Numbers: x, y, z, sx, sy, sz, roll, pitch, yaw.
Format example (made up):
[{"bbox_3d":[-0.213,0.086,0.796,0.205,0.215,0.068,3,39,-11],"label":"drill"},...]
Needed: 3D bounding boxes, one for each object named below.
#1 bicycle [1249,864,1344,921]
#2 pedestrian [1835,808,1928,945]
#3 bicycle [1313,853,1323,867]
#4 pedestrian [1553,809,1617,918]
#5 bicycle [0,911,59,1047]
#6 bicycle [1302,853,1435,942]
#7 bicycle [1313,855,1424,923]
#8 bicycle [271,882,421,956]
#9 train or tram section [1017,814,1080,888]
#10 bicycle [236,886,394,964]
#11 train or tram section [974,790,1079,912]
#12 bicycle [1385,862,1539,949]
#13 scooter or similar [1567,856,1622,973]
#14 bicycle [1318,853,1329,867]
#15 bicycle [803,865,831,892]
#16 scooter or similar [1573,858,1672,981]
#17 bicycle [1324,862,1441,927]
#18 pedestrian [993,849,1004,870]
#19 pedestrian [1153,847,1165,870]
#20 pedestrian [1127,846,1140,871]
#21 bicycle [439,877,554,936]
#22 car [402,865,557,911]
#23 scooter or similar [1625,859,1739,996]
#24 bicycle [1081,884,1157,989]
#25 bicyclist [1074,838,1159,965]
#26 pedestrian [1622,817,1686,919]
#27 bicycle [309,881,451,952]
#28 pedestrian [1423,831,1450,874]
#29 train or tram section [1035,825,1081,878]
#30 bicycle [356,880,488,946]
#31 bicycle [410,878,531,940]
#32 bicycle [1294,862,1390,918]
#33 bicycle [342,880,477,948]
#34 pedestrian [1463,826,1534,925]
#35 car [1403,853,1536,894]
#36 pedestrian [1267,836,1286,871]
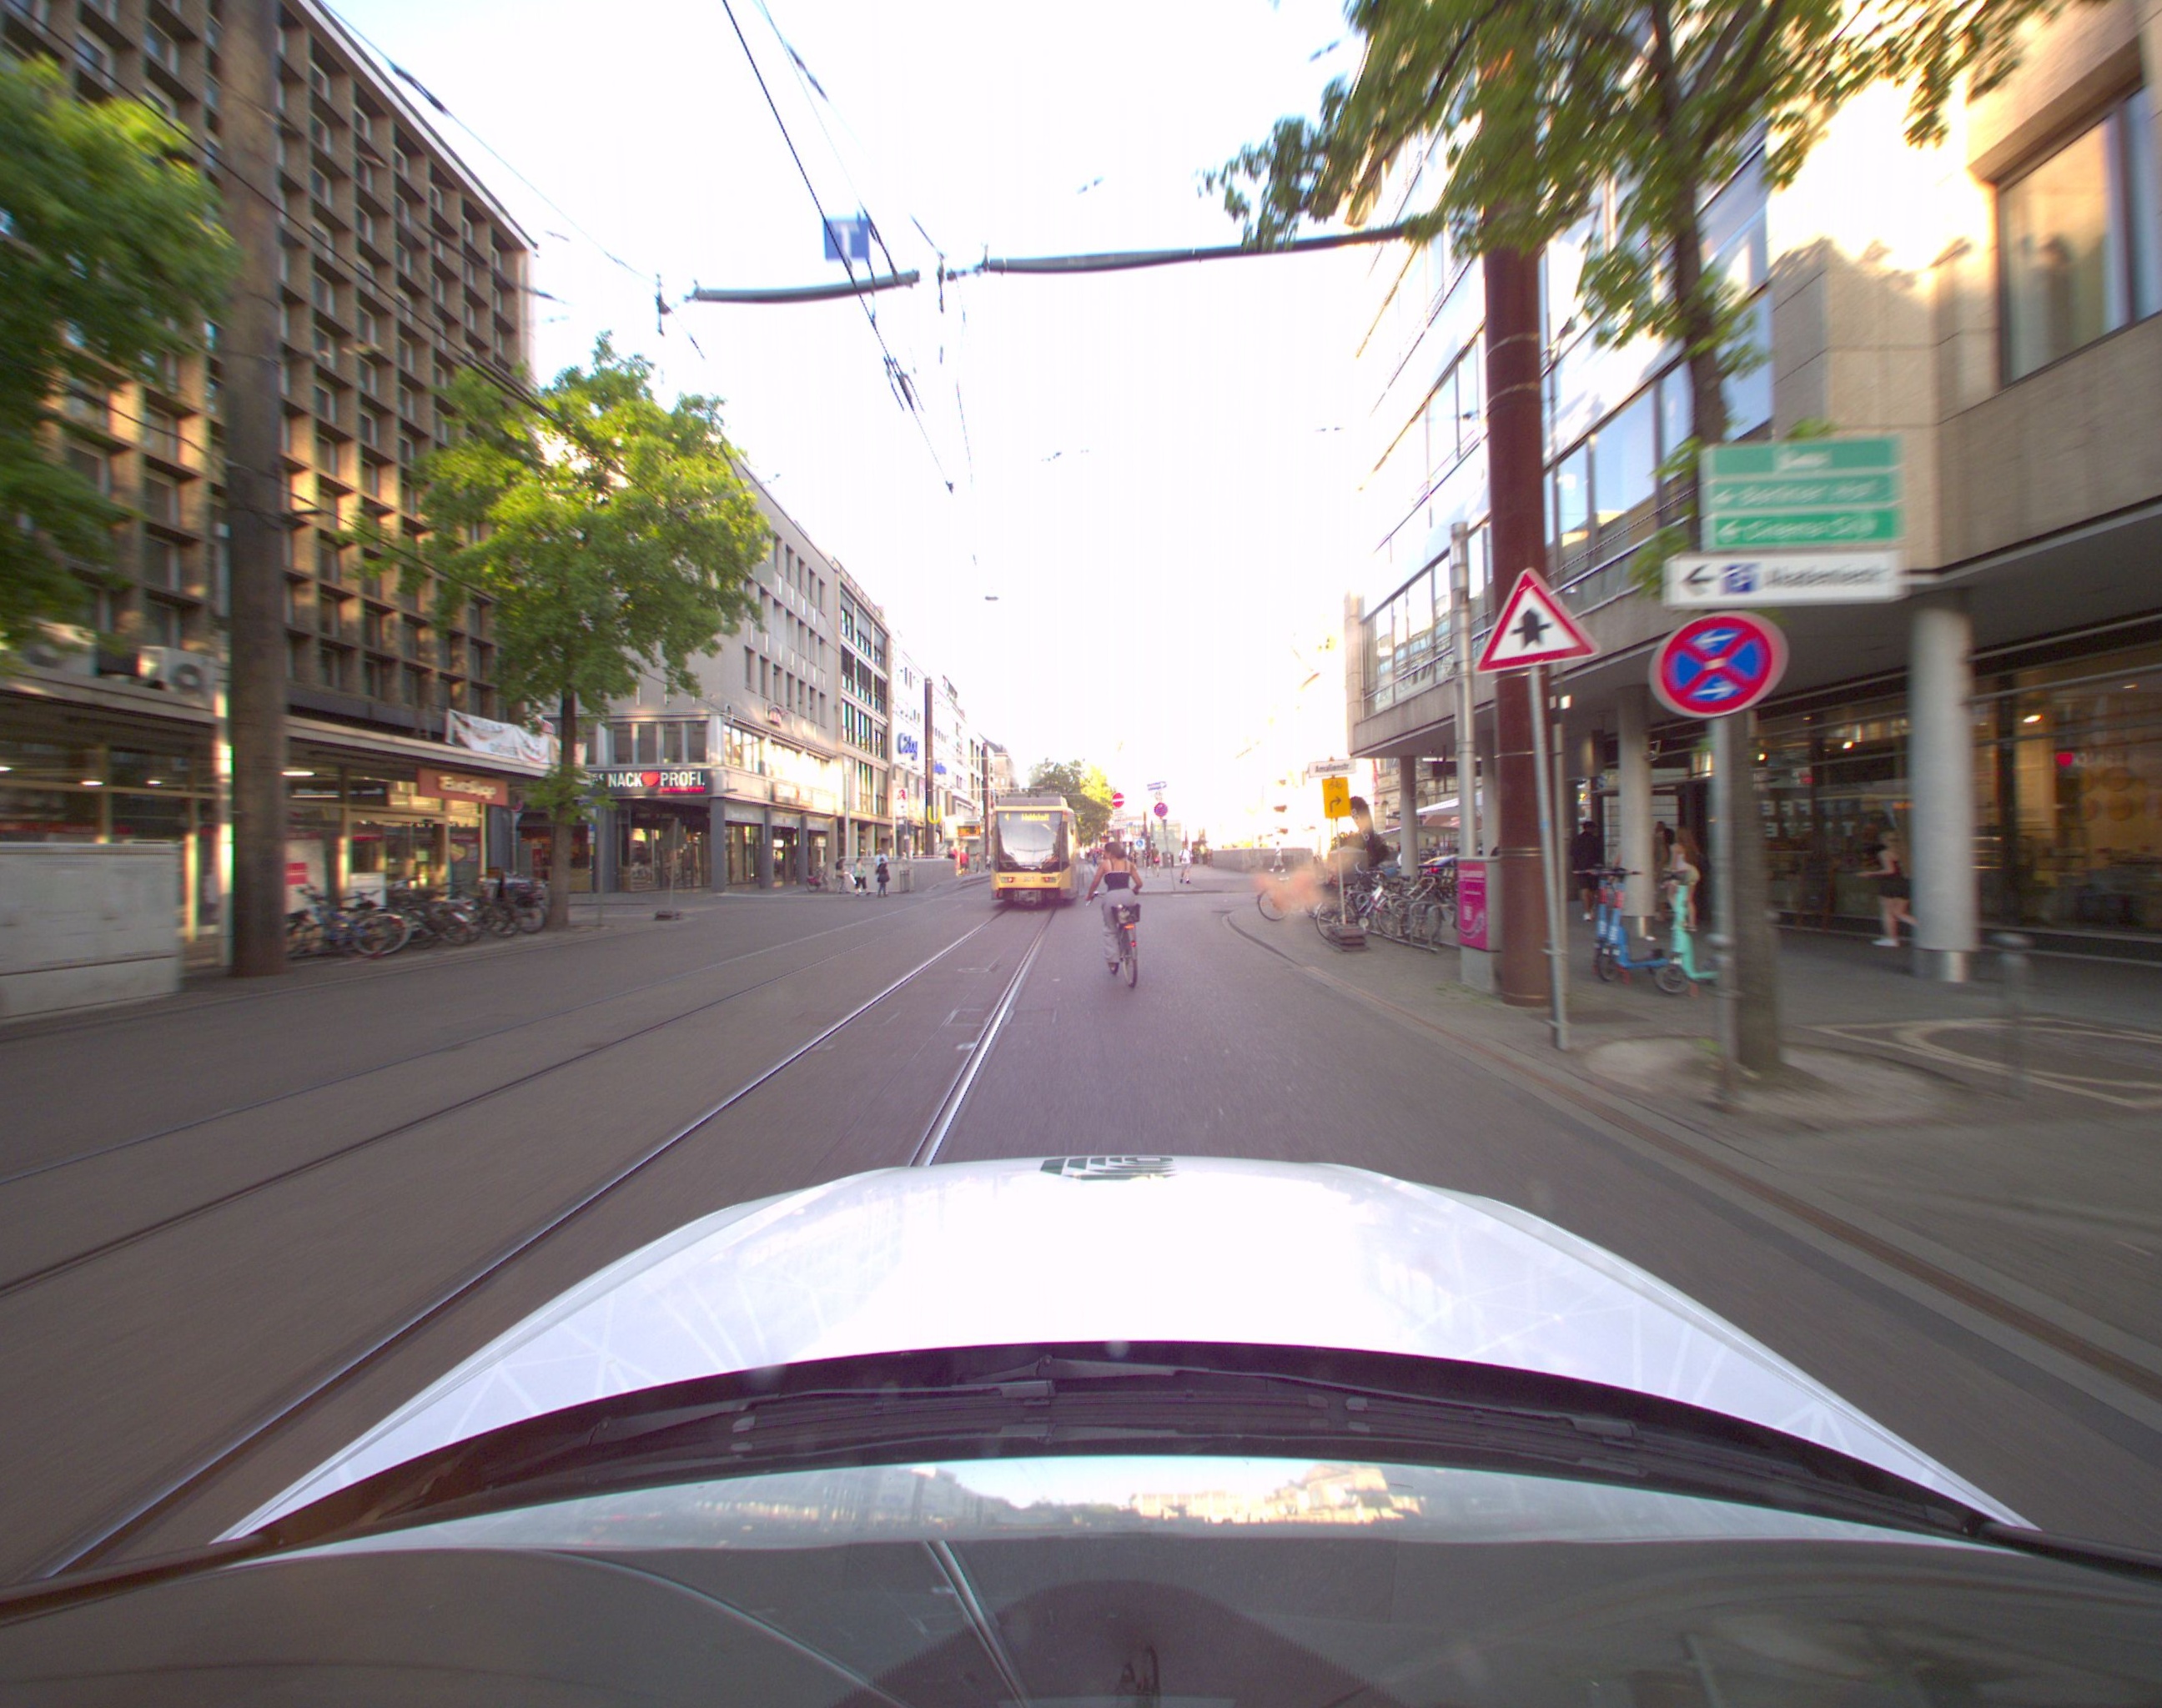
[{"bbox_3d":[4.671,0.822,17.685,1.848,1.109,0.666,-2,0,-3],"label":"bicycle"},{"bbox_3d":[10.549,0.287,10.748,0.568,1.731,0.617,-2,0,-1],"label":"pedestrian"},{"bbox_3d":[14.567,0.373,50.026,0.314,0.867,1.000,-2,0,-1],"label":"bicycle"},{"bbox_3d":[9.604,0.176,15.547,0.684,2.013,0.783,-2,0,1],"label":"pedestrian"},{"bbox_3d":[-8.825,1.016,5.959,0.487,1.045,1.776,0,0,-2],"label":"bicycle"},{"bbox_3d":[4.769,0.703,13.567,1.912,1.333,0.724,-3,0,-5],"label":"bicycle"},{"bbox_3d":[5.741,0.677,16.309,1.912,1.222,0.762,-3,0,-5],"label":"bicycle"},{"bbox_3d":[-10.875,0.955,12.080,1.766,1.045,0.489,1,0,0],"label":"bicycle"},{"bbox_3d":[-1.490,-0.152,44.425,2.791,3.319,14.506,-1,0,0],"label":"train or tram section"},{"bbox_3d":[-10.884,0.997,11.589,1.766,1.045,0.489,1,0,0],"label":"bicycle"},{"bbox_3d":[-1.521,-0.109,29.890,2.791,3.319,14.506,-1,0,0],"label":"train or tram section"},{"bbox_3d":[5.768,0.754,12.383,1.992,1.155,0.724,-3,0,-5],"label":"bicycle"},{"bbox_3d":[6.067,0.678,9.599,0.388,1.251,1.199,-2,1,38],"label":"scooter or similar"},{"bbox_3d":[14.892,0.371,50.030,0.314,0.867,1.000,-2,0,-1],"label":"bicycle"},{"bbox_3d":[-11.730,1.089,36.260,0.496,1.107,1.803,-1,1,6],"label":"bicycle"},{"bbox_3d":[5.998,0.691,9.009,1.195,1.251,0.389,-2,0,-30],"label":"scooter or similar"},{"bbox_3d":[5.734,0.753,15.562,1.912,1.077,0.762,-3,0,-5],"label":"bicycle"},{"bbox_3d":[-7.162,0.478,70.603,0.711,1.725,0.768,-1,-1,-29],"label":"pedestrian"},{"bbox_3d":[6.344,0.386,65.926,0.771,1.823,0.939,-2,0,-3],"label":"pedestrian"},{"bbox_3d":[3.906,0.324,60.710,0.734,1.823,0.816,-1,0,-14],"label":"pedestrian"},{"bbox_3d":[-10.831,0.973,15.115,1.766,1.045,0.489,1,0,0],"label":"bicycle"},{"bbox_3d":[-21.321,1.177,29.005,4.110,1.510,1.798,-1,-1,-3],"label":"car"},{"bbox_3d":[6.062,0.698,8.209,1.119,1.251,0.492,-2,0,-30],"label":"scooter or similar"},{"bbox_3d":[0.424,0.953,10.062,0.812,1.073,2.113,1,0,-1],"label":"bicycle"},{"bbox_3d":[0.419,0.559,10.046,0.994,1.502,0.857,1,0,0],"label":"bicyclist"},{"bbox_3d":[10.771,0.258,15.327,0.659,1.848,0.720,-2,-1,6],"label":"pedestrian"},{"bbox_3d":[-10.868,0.959,12.652,1.766,1.045,0.489,1,0,0],"label":"bicycle"},{"bbox_3d":[15.207,-0.078,34.866,0.805,1.823,0.807,-1,1,4],"label":"pedestrian"},{"bbox_3d":[-1.466,-0.187,58.971,2.791,3.319,14.506,-1,0,0],"label":"train or tram section"},{"bbox_3d":[-10.881,0.964,13.473,1.766,1.045,0.489,1,0,0],"label":"bicycle"},{"bbox_3d":[-10.872,0.970,14.534,1.766,1.045,0.489,1,0,0],"label":"bicycle"},{"bbox_3d":[5.705,0.777,17.853,1.848,1.109,0.666,-2,0,-3],"label":"bicycle"},{"bbox_3d":[-10.887,0.962,13.230,1.766,1.045,0.489,1,0,0],"label":"bicycle"},{"bbox_3d":[7.593,0.383,14.852,0.760,1.719,0.924,-2,-1,1],"label":"pedestrian"},{"bbox_3d":[14.183,0.708,29.872,4.027,1.409,1.774,-1,-1,-1],"label":"car"},{"bbox_3d":[11.507,-0.037,48.015,0.911,2.014,0.773,0,-1,1],"label":"pedestrian"}]
